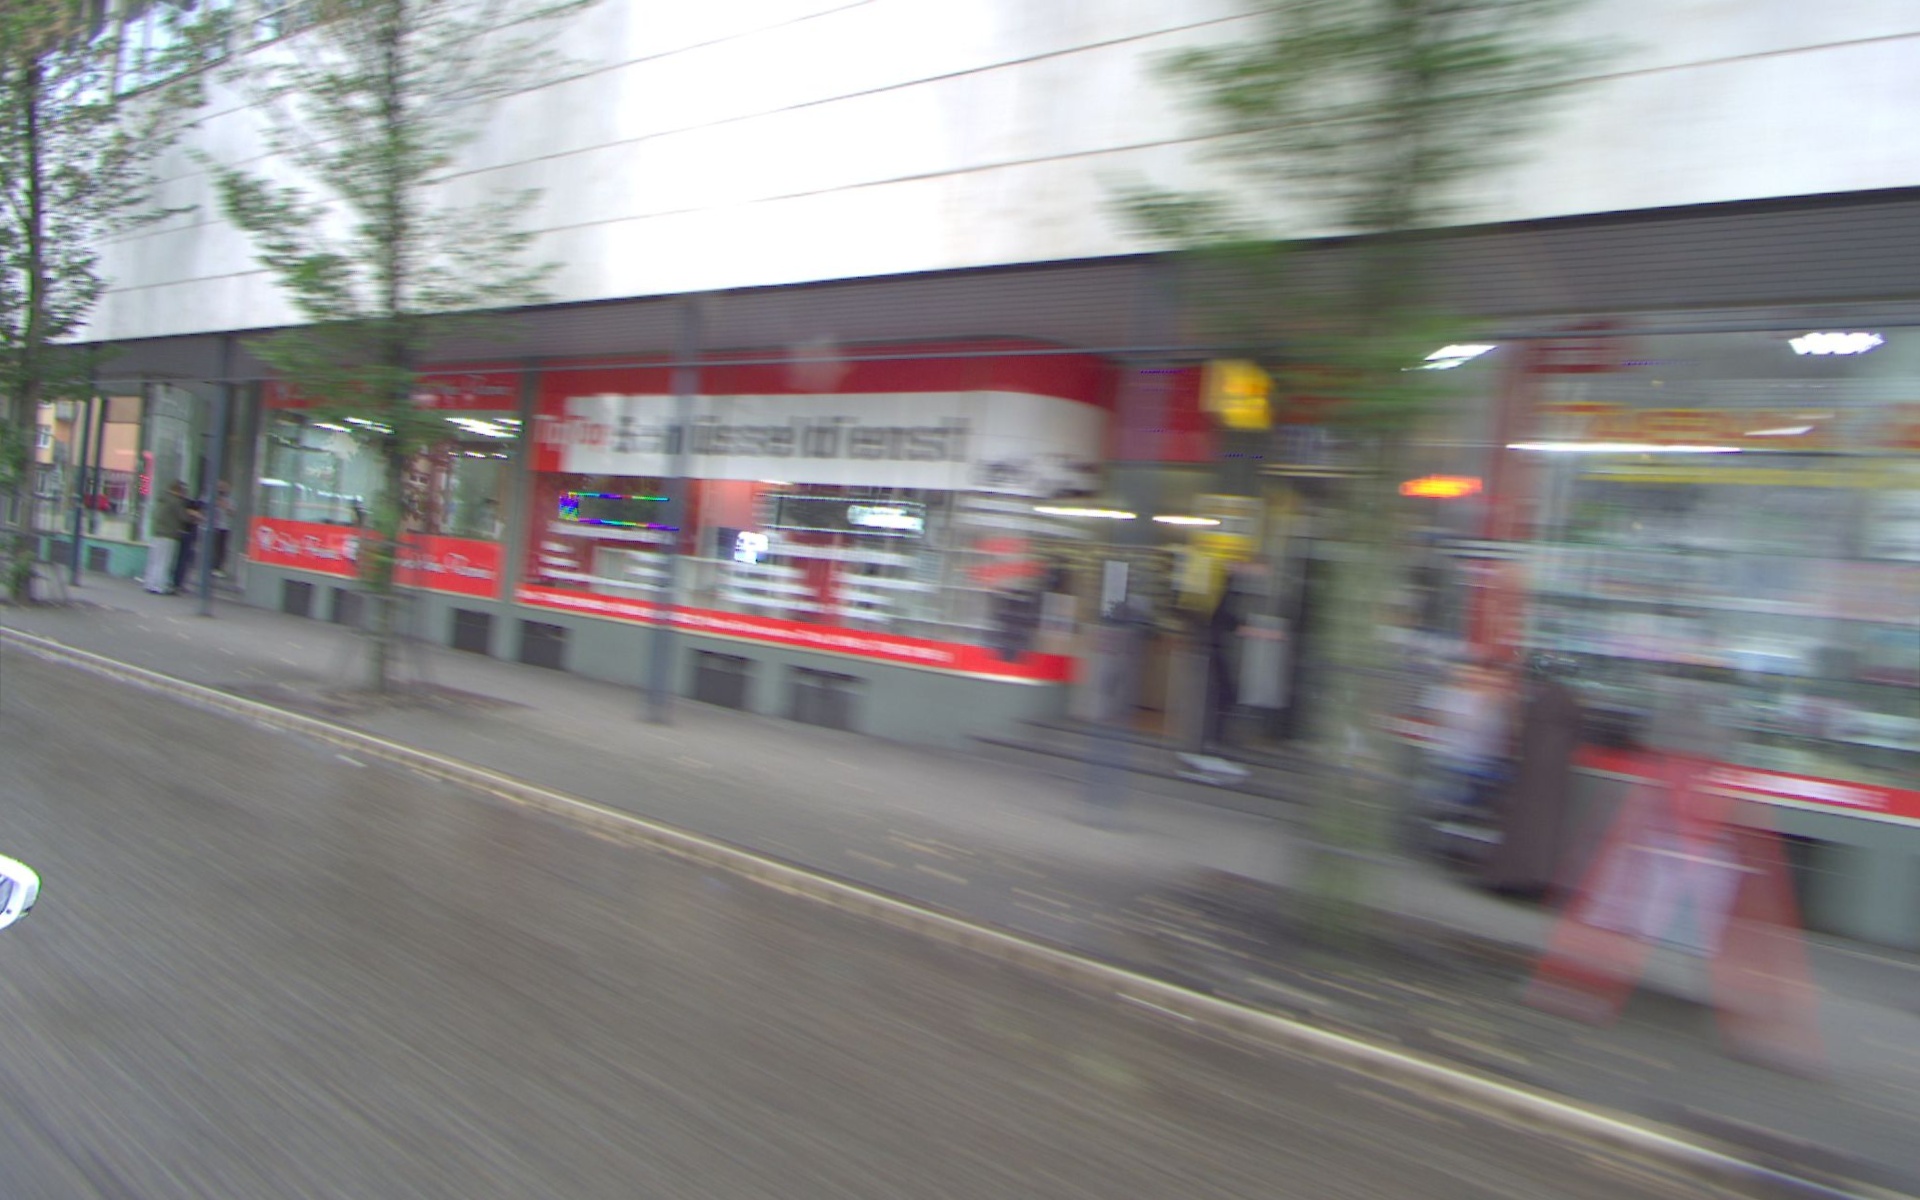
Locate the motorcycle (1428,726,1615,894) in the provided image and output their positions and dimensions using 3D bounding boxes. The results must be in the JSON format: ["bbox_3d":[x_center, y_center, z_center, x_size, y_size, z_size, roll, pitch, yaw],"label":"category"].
[{"bbox_3d":[3.482,1.282,6.269,0.905,0.815,0.324,8,3,31],"label":"motorcycle"}]

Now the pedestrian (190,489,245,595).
[{"bbox_3d":[-12.708,-0.990,17.215,0.527,1.741,0.535,8,2,41],"label":"pedestrian"}]

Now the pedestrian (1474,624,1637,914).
[{"bbox_3d":[3.474,0.968,5.900,0.423,1.587,0.508,6,2,-13],"label":"pedestrian"}]

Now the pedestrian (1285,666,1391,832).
[{"bbox_3d":[2.864,1.117,7.654,0.500,1.151,0.430,6,2,-4],"label":"pedestrian"}]

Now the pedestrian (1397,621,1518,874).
[{"bbox_3d":[3.348,0.963,6.773,0.501,1.587,0.429,8,3,35],"label":"pedestrian"}]

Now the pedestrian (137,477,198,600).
[{"bbox_3d":[-12.451,-0.959,15.806,0.527,1.843,0.535,8,2,39],"label":"pedestrian"}]

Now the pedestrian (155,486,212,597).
[{"bbox_3d":[-12.790,-0.960,16.578,0.527,1.741,0.535,8,2,39],"label":"pedestrian"}]

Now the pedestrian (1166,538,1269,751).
[{"bbox_3d":[1.997,0.335,7.855,0.423,1.587,0.508,6,2,-13],"label":"pedestrian"}]

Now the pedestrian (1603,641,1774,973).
[{"bbox_3d":[3.765,1.033,5.239,0.501,1.587,0.429,7,2,30],"label":"pedestrian"}]
